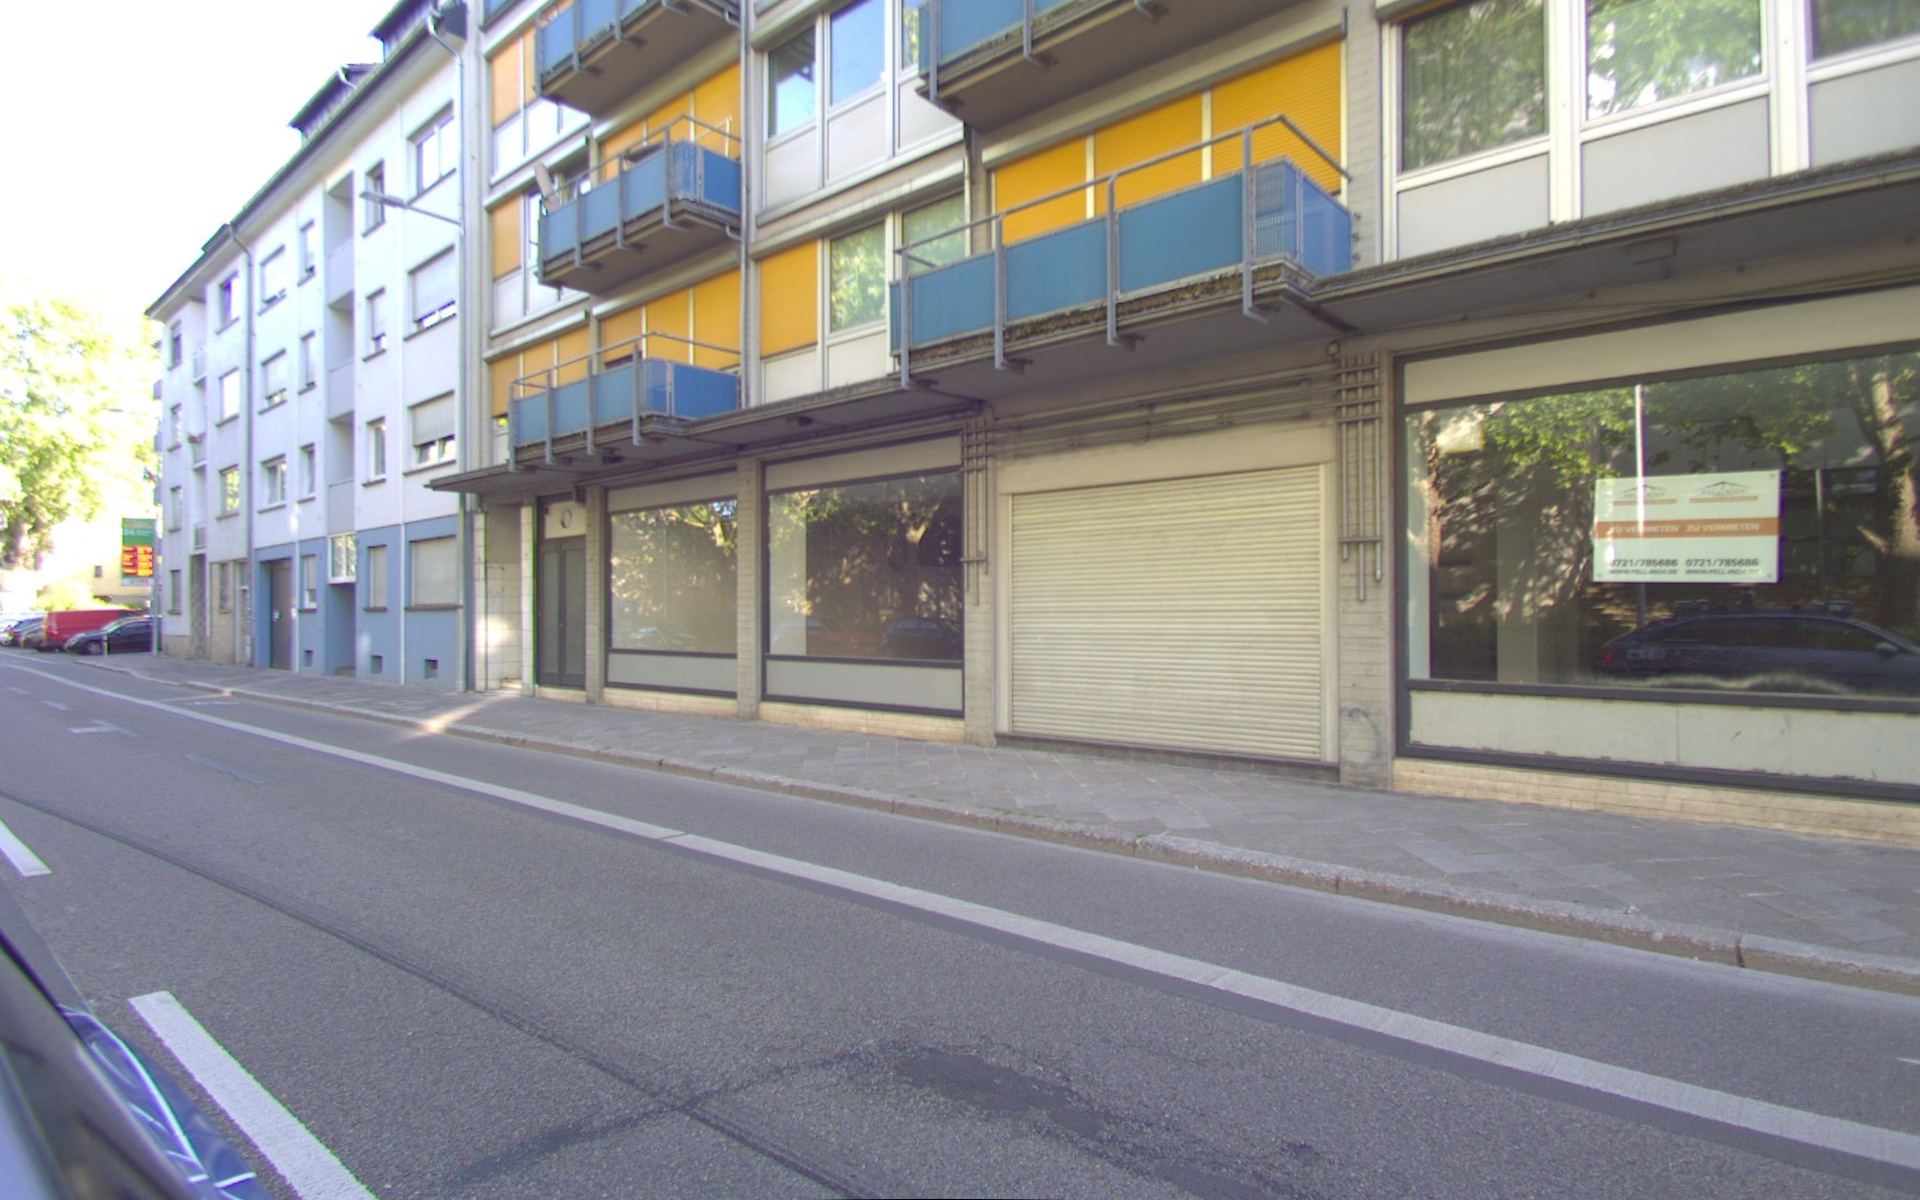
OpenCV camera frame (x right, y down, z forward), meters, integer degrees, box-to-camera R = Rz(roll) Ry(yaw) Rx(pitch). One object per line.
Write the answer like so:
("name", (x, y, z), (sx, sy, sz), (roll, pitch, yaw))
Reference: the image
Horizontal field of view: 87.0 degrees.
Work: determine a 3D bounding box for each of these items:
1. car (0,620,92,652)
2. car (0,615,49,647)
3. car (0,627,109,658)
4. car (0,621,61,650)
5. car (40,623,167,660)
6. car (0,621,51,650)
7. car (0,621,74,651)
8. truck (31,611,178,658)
("car", (-50.812, 1.966, 55.962), (1.699, 1.640, 3.952), (-1, 0, 35))
("car", (-59.716, 1.963, 63.799), (1.693, 1.953, 3.224), (-1, 0, 43))
("car", (-43.422, 1.996, 48.351), (1.904, 1.282, 3.983), (-1, 0, 39))
("car", (-55.056, 2.077, 58.995), (1.715, 1.594, 3.660), (-1, 0, 35))
("car", (-36.920, 1.749, 43.702), (1.780, 1.404, 3.947), (-1, 0, 39))
("car", (-56.877, 2.118, 60.388), (1.740, 1.600, 3.685), (-1, 0, 35))
("car", (-52.872, 2.033, 57.466), (1.656, 1.599, 3.615), (-1, 0, 35))
("truck", (-40.340, 1.578, 47.830), (1.998, 2.036, 5.024), (-1, 0, 40))
